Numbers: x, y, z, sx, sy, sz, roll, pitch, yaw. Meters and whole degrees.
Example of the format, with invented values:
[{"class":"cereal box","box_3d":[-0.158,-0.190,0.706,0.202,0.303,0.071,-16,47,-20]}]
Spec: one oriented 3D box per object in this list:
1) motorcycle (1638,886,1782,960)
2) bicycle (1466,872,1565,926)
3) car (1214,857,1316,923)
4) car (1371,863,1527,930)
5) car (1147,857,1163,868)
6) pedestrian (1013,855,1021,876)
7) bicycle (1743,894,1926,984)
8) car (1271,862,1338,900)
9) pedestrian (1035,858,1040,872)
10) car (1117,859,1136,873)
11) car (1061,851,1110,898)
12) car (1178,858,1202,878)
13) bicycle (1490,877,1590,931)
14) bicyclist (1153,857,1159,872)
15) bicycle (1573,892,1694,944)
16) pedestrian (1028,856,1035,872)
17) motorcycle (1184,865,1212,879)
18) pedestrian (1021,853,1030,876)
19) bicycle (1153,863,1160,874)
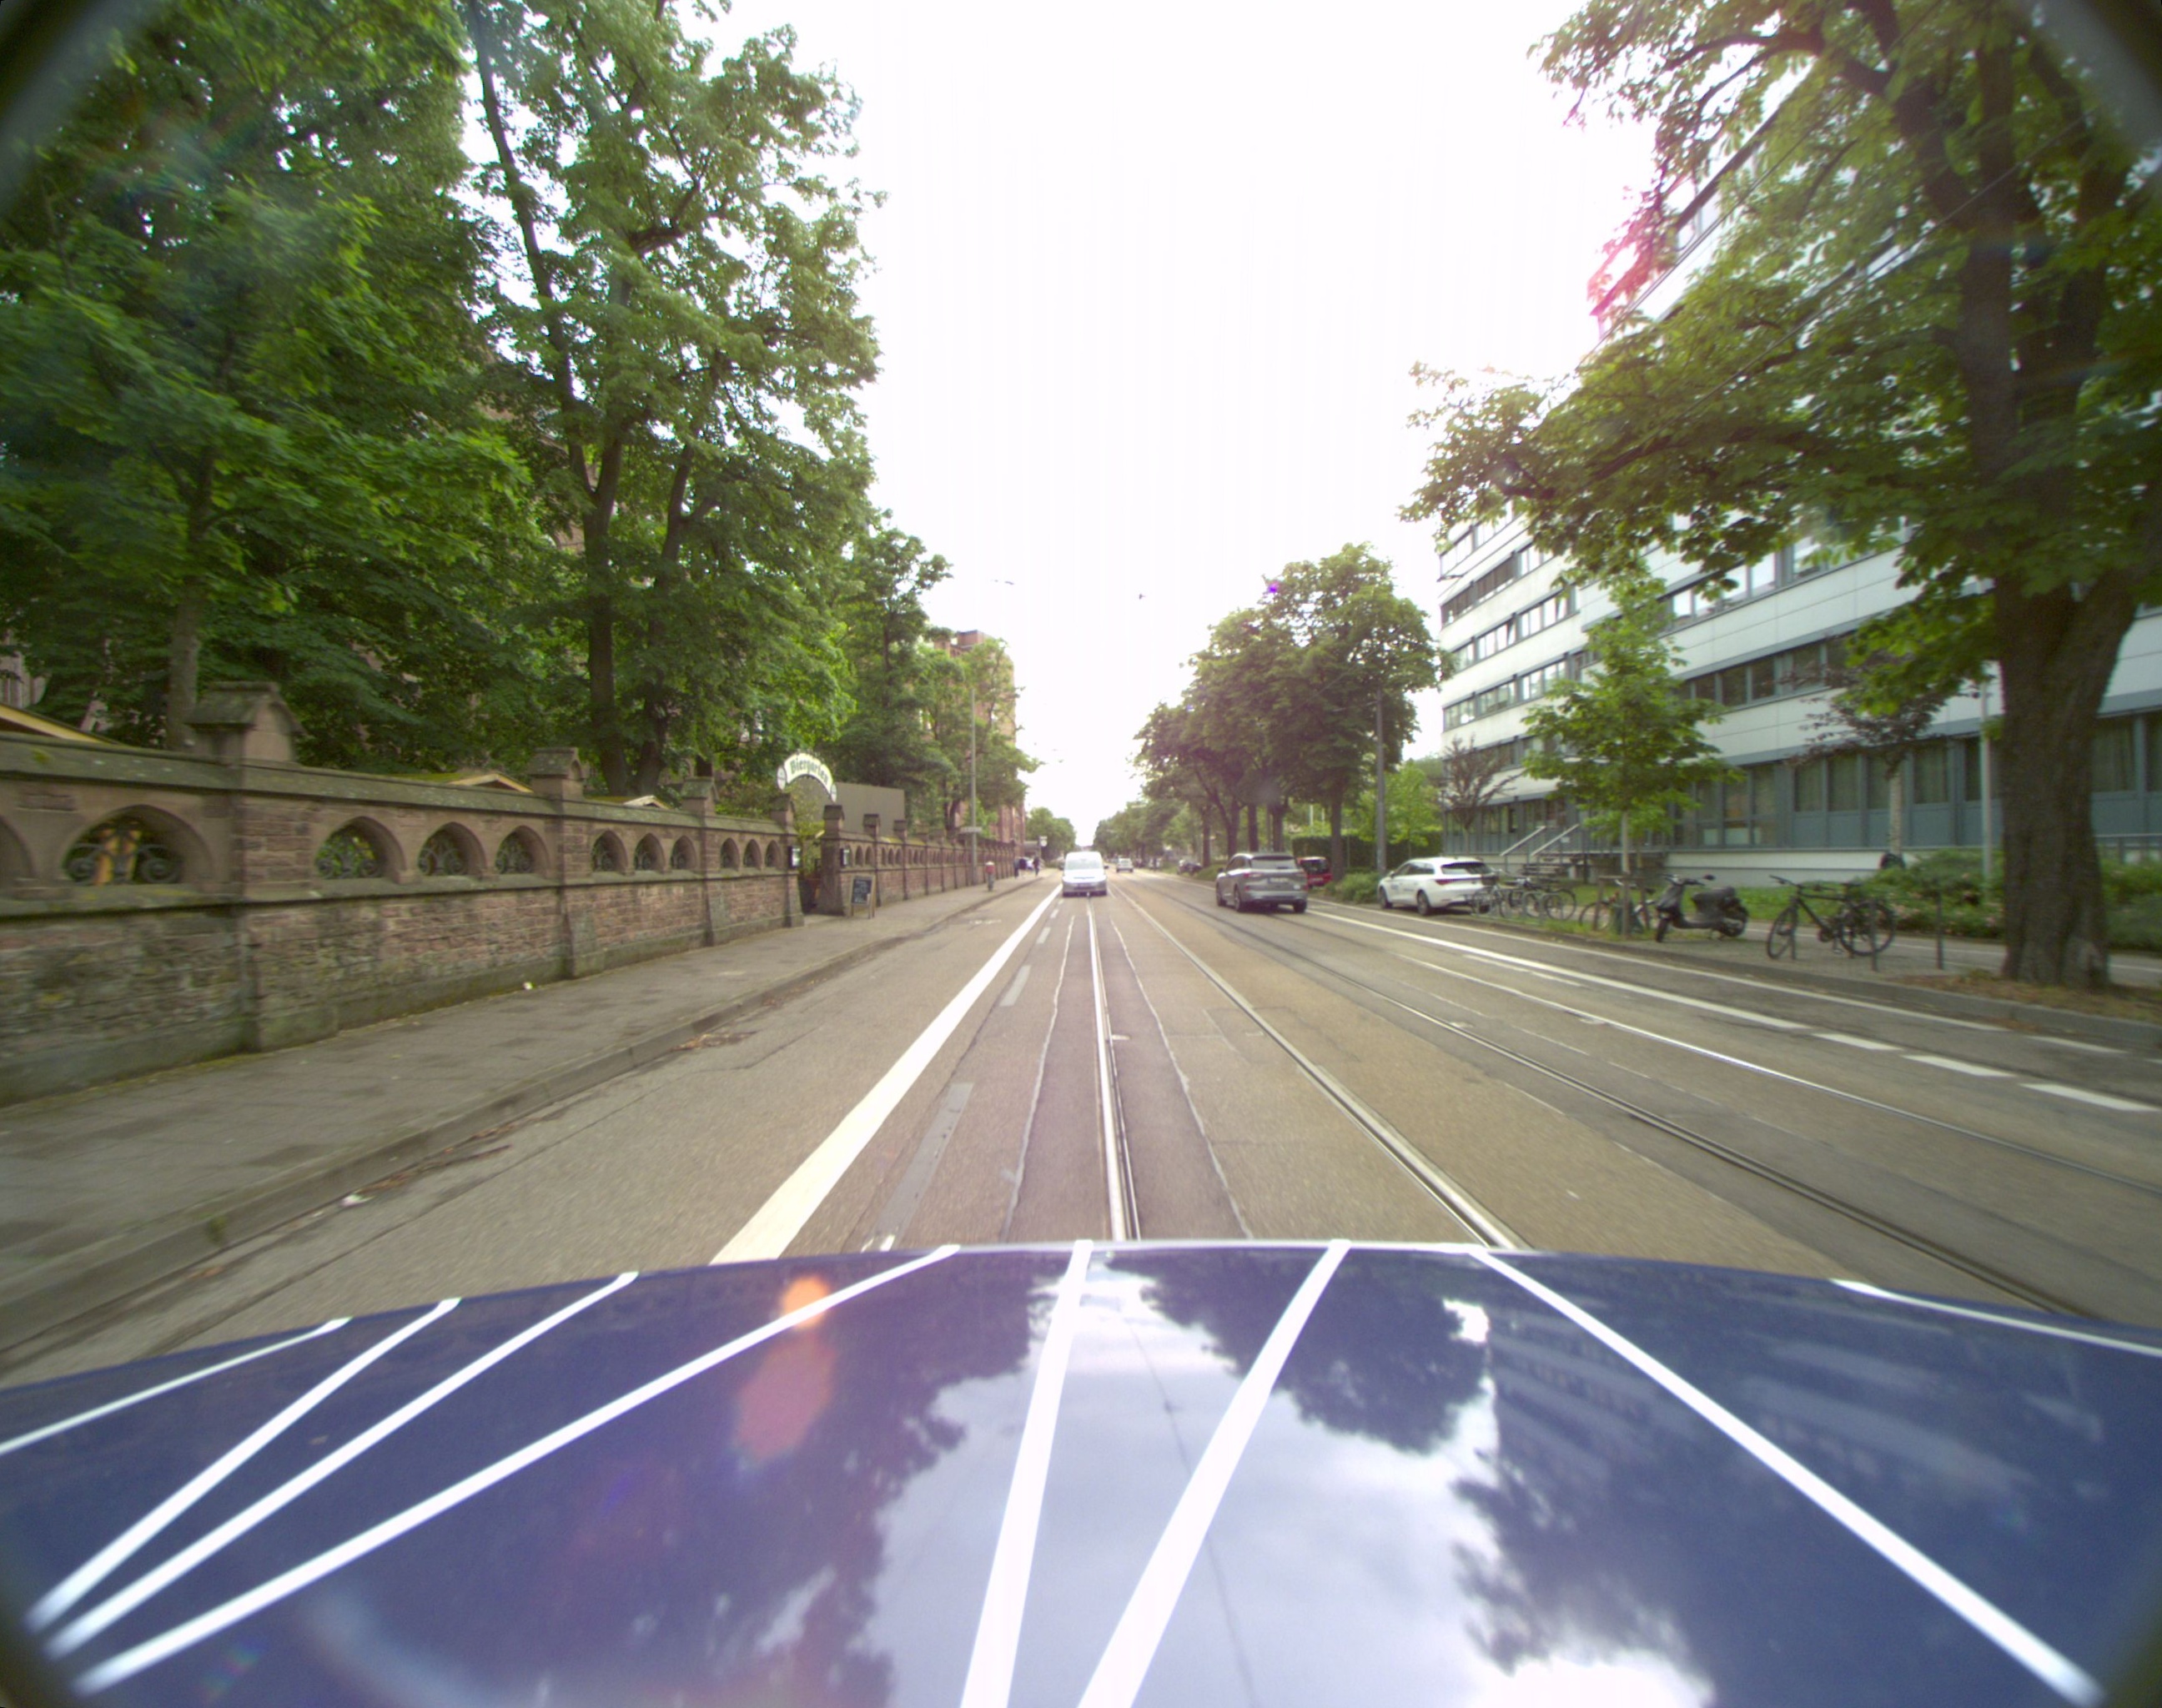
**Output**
[{"class":"motorcycle","box_3d":[10.063,1.088,12.188,1.793,1.044,0.732,-2,1,-6]},{"class":"bicycle","box_3d":[9.875,1.002,17.308,1.868,1.180,0.632,0,1,5]},{"class":"car","box_3d":[5.053,0.931,21.479,1.846,1.644,4.389,1,0,1]},{"class":"car","box_3d":[9.615,1.027,20.365,1.886,1.484,4.753,-2,0,1]},{"class":"car","box_3d":[10.024,1.159,103.119,1.849,1.424,3.951,-2,0,0]},{"class":"pedestrian","box_3d":[-5.099,0.945,60.770,0.559,1.645,0.771,1,0,-2]},{"class":"bicycle","box_3d":[9.884,1.093,9.995,1.834,1.047,0.741,-1,0,-8]},{"class":"car","box_3d":[9.872,1.144,33.805,1.632,1.439,3.756,-4,1,-3]},{"class":"pedestrian","box_3d":[-4.817,1.178,84.021,0.529,1.548,0.489,3,1,-2]},{"class":"car","box_3d":[5.059,1.355,84.827,1.745,1.490,4.261,-1,0,-1]},{"class":"car","box_3d":[0.207,0.797,32.630,1.850,1.797,4.936,-2,0,1]},{"class":"car","box_3d":[10.216,1.259,71.430,1.815,1.699,4.001,-2,0,4]},{"class":"bicycle","box_3d":[9.789,1.056,16.236,1.811,1.094,0.632,0,1,-6]},{"class":"bicyclist","box_3d":[8.212,1.145,82.977,0.636,1.528,0.955,-2,1,5]},{"class":"bicycle","box_3d":[10.058,1.152,13.845,1.811,0.894,0.632,0,1,-6]},{"class":"pedestrian","box_3d":[-5.418,1.092,83.825,0.669,1.703,0.997,3,1,-2]},{"class":"motorcycle","box_3d":[9.656,1.462,62.738,2.128,1.096,0.776,-2,1,42]},{"class":"pedestrian","box_3d":[-4.452,0.858,60.936,0.723,1.834,0.897,1,1,-2]},{"class":"bicycle","box_3d":[8.231,1.582,82.985,0.636,1.044,1.994,-2,1,5]}]
